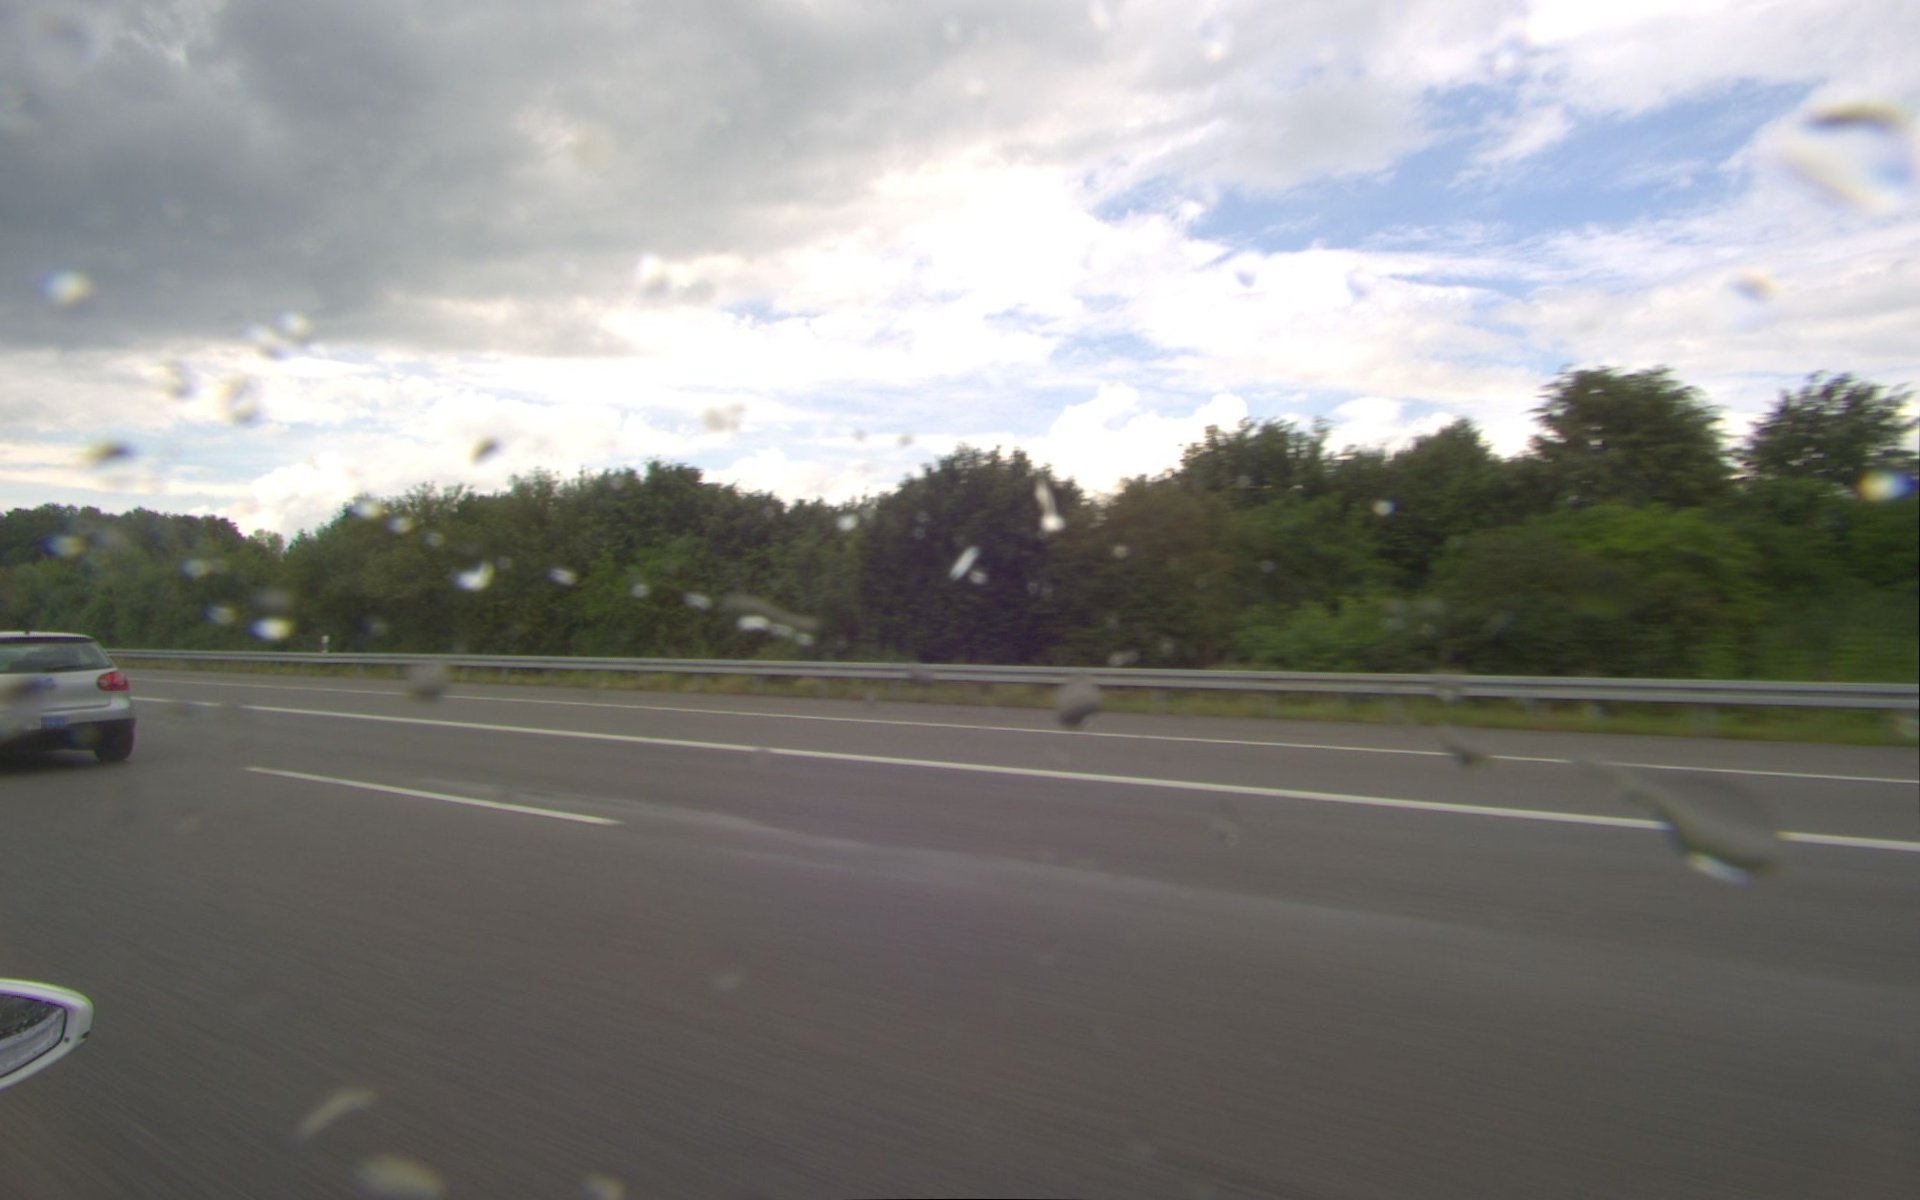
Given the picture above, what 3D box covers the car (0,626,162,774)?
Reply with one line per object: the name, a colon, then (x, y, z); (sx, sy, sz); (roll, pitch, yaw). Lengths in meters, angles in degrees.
car: (-11.149, 1.053, 11.600); (3.980, 1.496, 1.792); (-1, -1, 32)
